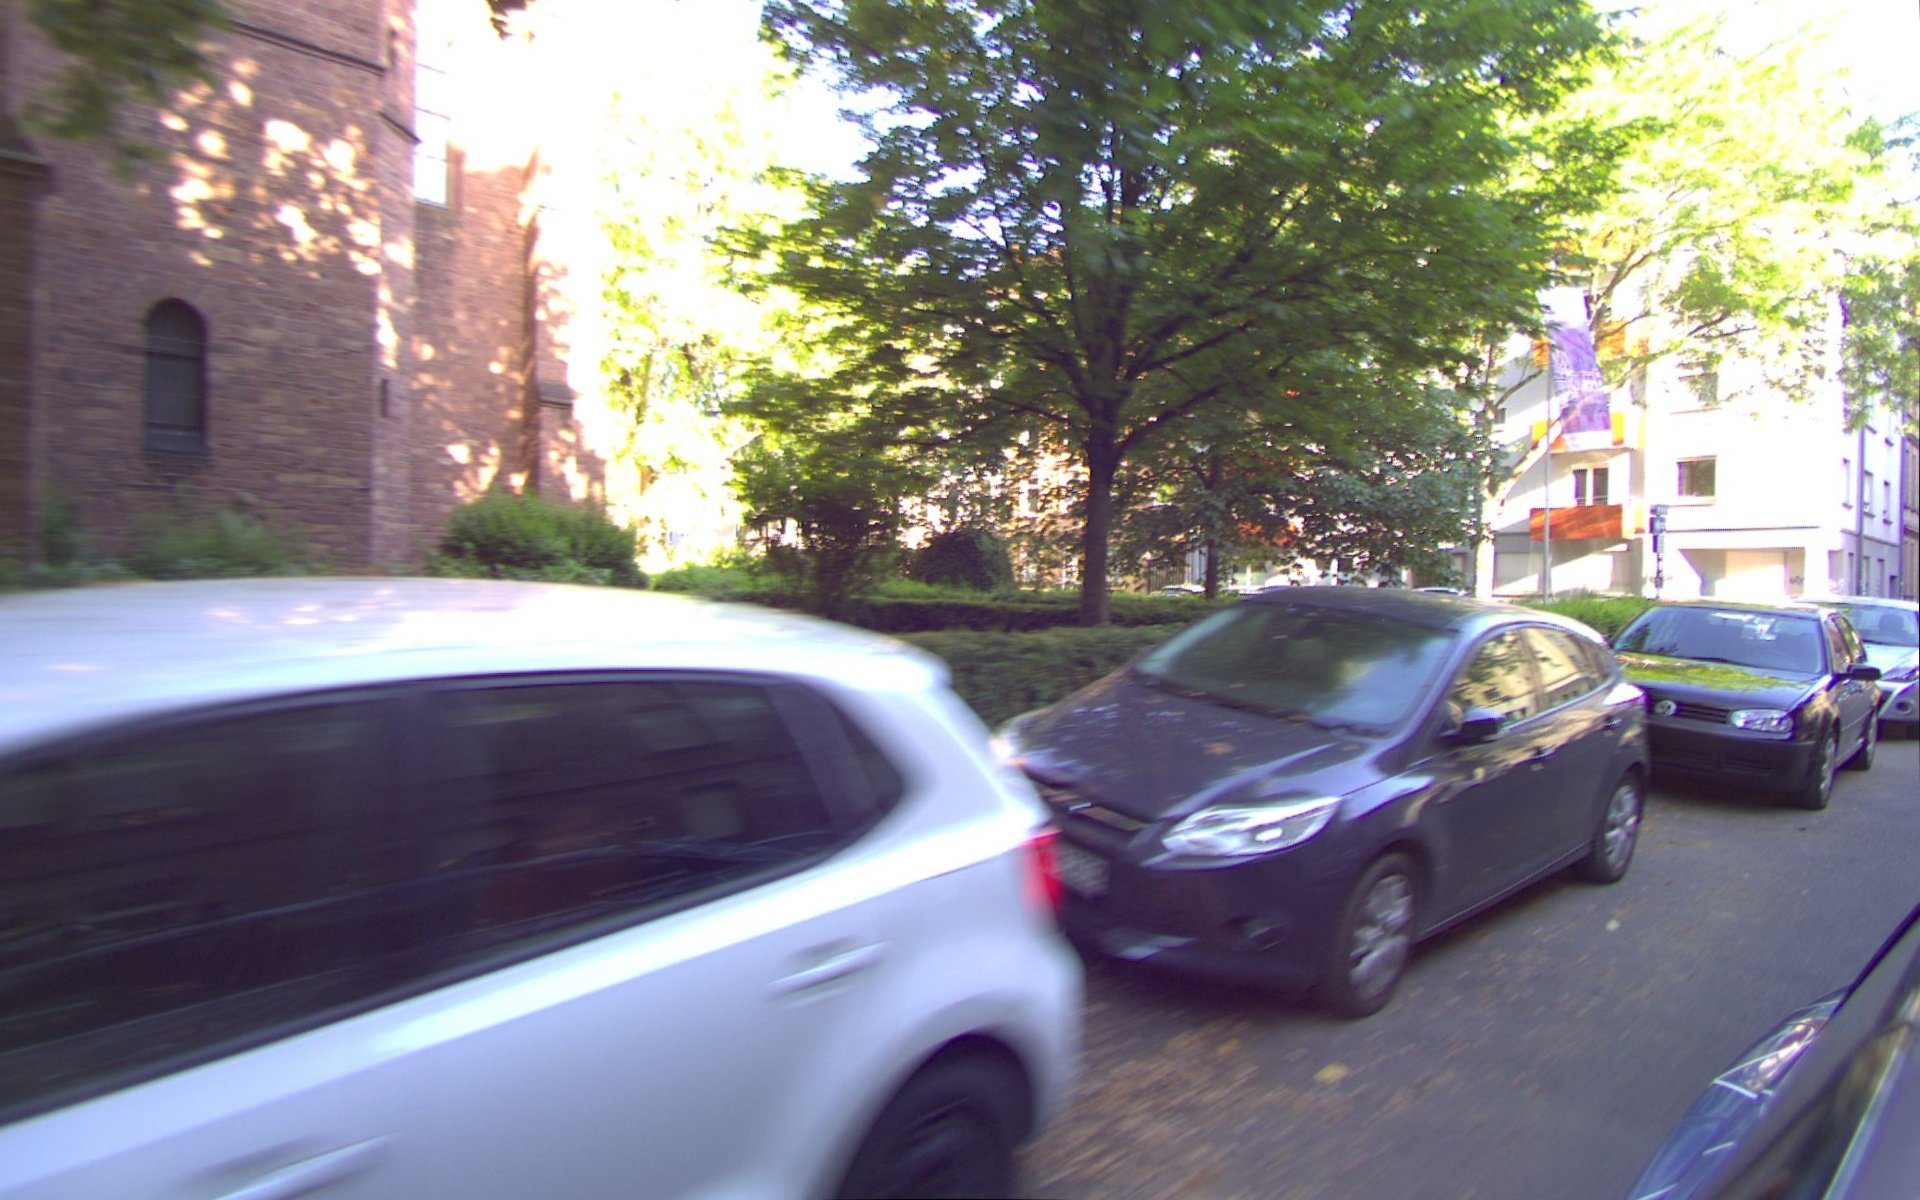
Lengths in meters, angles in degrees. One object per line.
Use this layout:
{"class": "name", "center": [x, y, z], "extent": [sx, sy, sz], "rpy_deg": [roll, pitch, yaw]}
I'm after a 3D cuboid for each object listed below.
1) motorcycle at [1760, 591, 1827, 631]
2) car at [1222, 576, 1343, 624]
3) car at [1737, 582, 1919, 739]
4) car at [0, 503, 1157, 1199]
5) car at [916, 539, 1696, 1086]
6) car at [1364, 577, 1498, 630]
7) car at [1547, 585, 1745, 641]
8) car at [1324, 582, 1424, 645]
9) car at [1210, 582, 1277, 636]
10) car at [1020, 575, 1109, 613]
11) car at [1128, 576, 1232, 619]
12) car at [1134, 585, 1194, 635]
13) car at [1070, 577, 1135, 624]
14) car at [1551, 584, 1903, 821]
{"class": "motorcycle", "center": [24.271, 0.306, 29.473], "extent": [1.467, 1.131, 0.894], "rpy_deg": [1, 1, 43]}
{"class": "car", "center": [11.951, -0.036, 37.675], "extent": [1.622, 1.636, 4.032], "rpy_deg": [-3, 3, -41]}
{"class": "car", "center": [10.736, 0.586, 12.034], "extent": [3.767, 1.538, 1.712], "rpy_deg": [-1, 3, -42]}
{"class": "car", "center": [-1.579, 0.641, 1.587], "extent": [3.885, 1.537, 1.667], "rpy_deg": [-2, 6, -43]}
{"class": "car", "center": [1.899, 0.567, 4.891], "extent": [3.988, 1.537, 1.669], "rpy_deg": [-1, 6, -40]}
{"class": "car", "center": [15.557, 0.063, 33.541], "extent": [1.622, 1.577, 3.692], "rpy_deg": [-4, 3, -41]}
{"class": "car", "center": [19.452, 0.315, 28.849], "extent": [1.752, 1.449, 4.408], "rpy_deg": [-1, 1, -41]}
{"class": "car", "center": [10.741, 0.294, 26.544], "extent": [1.756, 1.449, 4.398], "rpy_deg": [-1, 1, 14]}
{"class": "car", "center": [8.404, 0.223, 30.297], "extent": [1.756, 1.449, 4.398], "rpy_deg": [-1, 1, 14]}
{"class": "car", "center": [4.735, -0.315, 46.149], "extent": [1.622, 1.598, 3.996], "rpy_deg": [-3, 3, -41]}
{"class": "car", "center": [8.934, -0.149, 41.329], "extent": [1.622, 1.598, 3.996], "rpy_deg": [-3, 3, -41]}
{"class": "car", "center": [6.752, 0.278, 33.207], "extent": [1.756, 1.449, 4.398], "rpy_deg": [-1, 1, 14]}
{"class": "car", "center": [4.895, -0.023, 34.294], "extent": [1.756, 1.449, 4.398], "rpy_deg": [-1, 1, 14]}
{"class": "car", "center": [6.529, 0.634, 8.455], "extent": [3.935, 1.454, 1.624], "rpy_deg": [-1, 3, -42]}
